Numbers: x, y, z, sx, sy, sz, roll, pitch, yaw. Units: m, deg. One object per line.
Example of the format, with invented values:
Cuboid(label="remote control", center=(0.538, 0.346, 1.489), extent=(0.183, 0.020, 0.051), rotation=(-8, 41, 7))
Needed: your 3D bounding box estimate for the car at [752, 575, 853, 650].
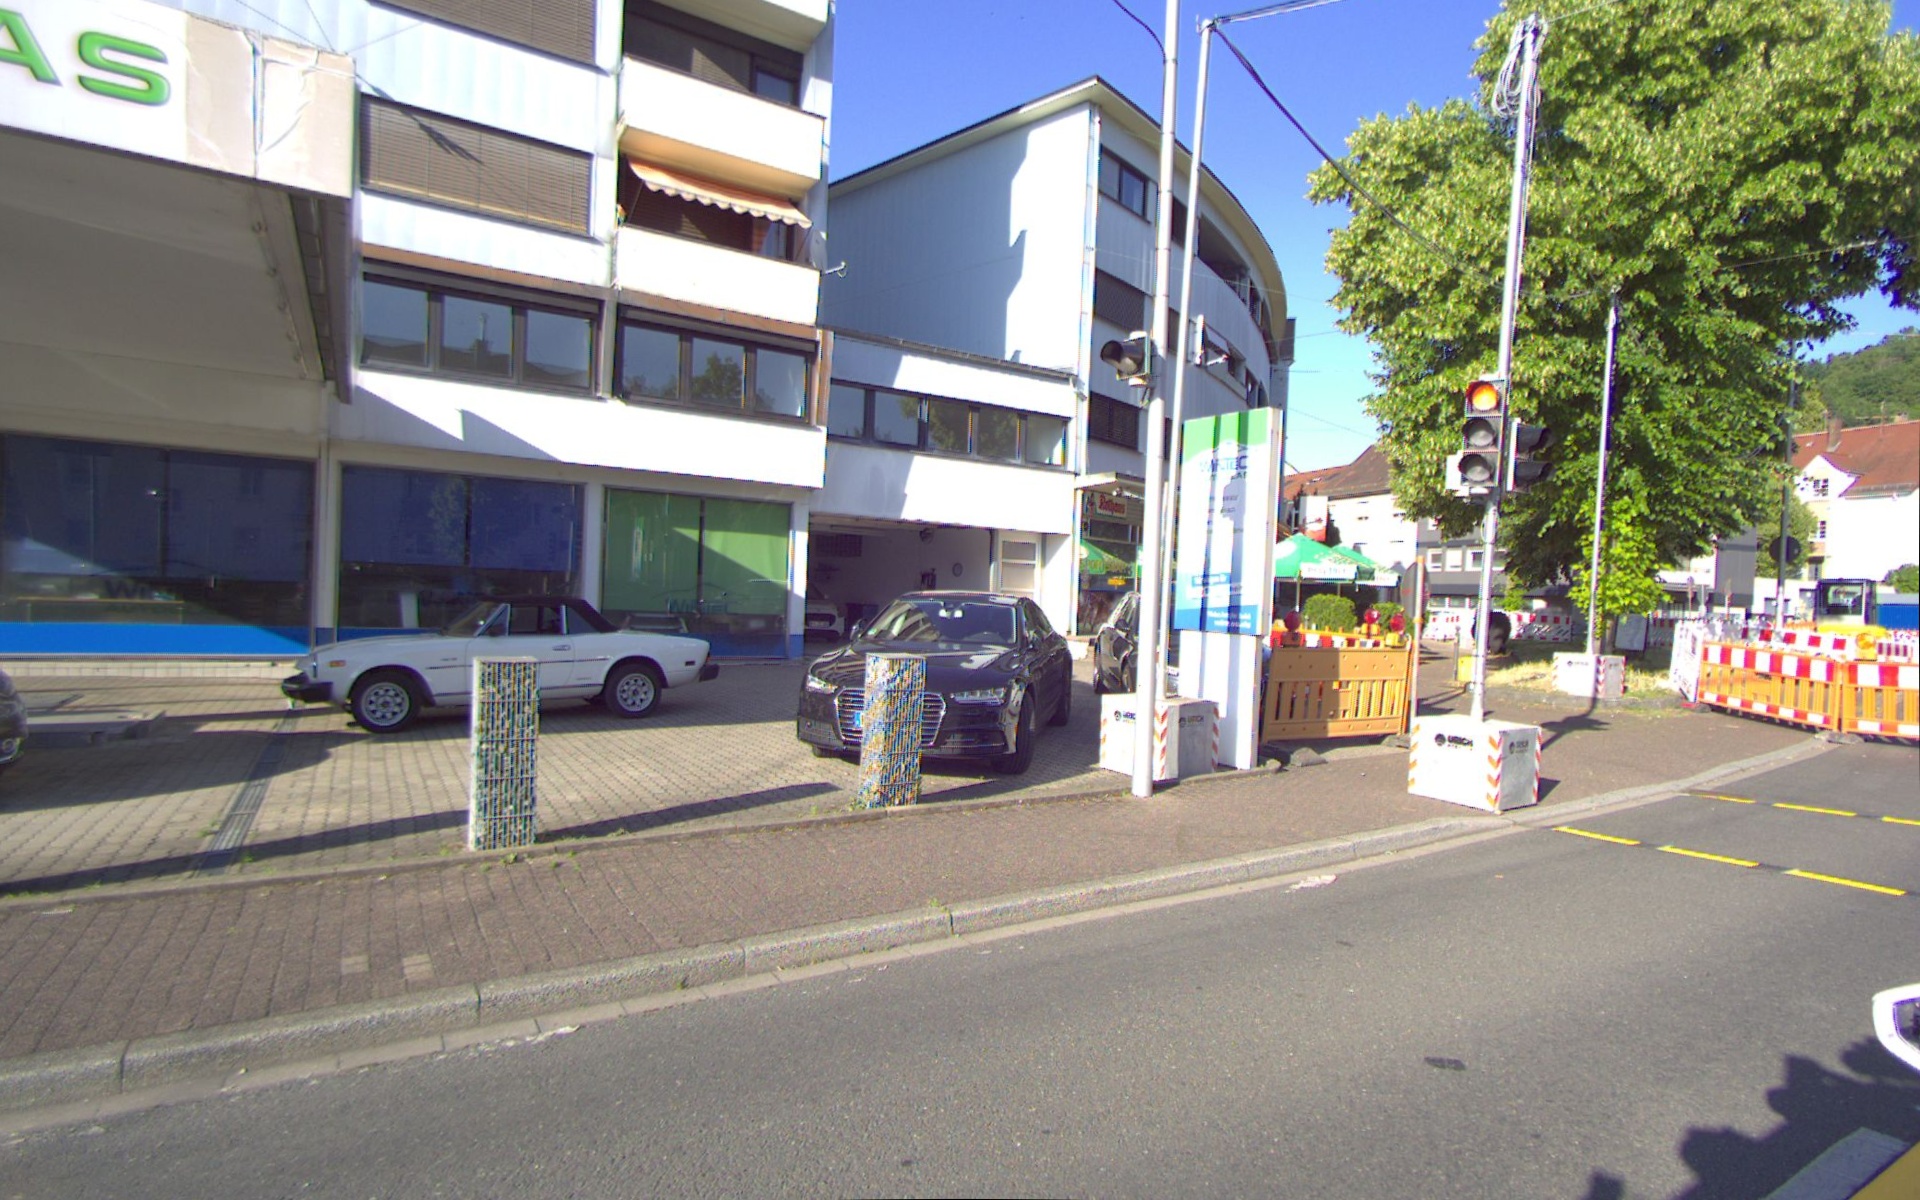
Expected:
Cuboid(label="car", center=(-3.889, 0.253, 24.381), extent=(1.550, 1.629, 3.734), rotation=(2, 1, -23))

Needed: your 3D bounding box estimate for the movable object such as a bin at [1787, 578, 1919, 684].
Cuboid(label="movable object such as a bin", center=(21.554, 0.702, 24.131), extent=(3.882, 2.356, 1.635), rotation=(1, 0, -36))

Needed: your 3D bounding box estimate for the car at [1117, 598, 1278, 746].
Cuboid(label="car", center=(2.763, 0.744, 12.080), extent=(1.564, 1.457, 3.887), rotation=(1, 0, 11))

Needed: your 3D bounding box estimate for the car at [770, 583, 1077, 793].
Cuboid(label="car", center=(-0.021, 0.648, 9.571), extent=(1.893, 1.457, 4.692), rotation=(1, -1, 11))

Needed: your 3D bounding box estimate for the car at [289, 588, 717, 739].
Cuboid(label="car", center=(-4.671, 0.591, 10.488), extent=(3.865, 1.315, 1.511), rotation=(1, -1, -35))

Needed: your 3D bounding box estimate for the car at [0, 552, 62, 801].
Cuboid(label="car", center=(-7.478, 0.407, 5.859), extent=(3.305, 1.506, 1.543), rotation=(2, 0, 8))

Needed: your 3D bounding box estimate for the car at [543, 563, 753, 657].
Cuboid(label="car", center=(-6.096, 0.217, 19.710), extent=(3.593, 1.696, 1.707), rotation=(2, 0, -34))

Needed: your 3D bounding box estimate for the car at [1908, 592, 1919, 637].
Cuboid(label="car", center=(49.521, 0.792, 48.427), extent=(6.043, 2.149, 2.586), rotation=(2, 0, -12))
